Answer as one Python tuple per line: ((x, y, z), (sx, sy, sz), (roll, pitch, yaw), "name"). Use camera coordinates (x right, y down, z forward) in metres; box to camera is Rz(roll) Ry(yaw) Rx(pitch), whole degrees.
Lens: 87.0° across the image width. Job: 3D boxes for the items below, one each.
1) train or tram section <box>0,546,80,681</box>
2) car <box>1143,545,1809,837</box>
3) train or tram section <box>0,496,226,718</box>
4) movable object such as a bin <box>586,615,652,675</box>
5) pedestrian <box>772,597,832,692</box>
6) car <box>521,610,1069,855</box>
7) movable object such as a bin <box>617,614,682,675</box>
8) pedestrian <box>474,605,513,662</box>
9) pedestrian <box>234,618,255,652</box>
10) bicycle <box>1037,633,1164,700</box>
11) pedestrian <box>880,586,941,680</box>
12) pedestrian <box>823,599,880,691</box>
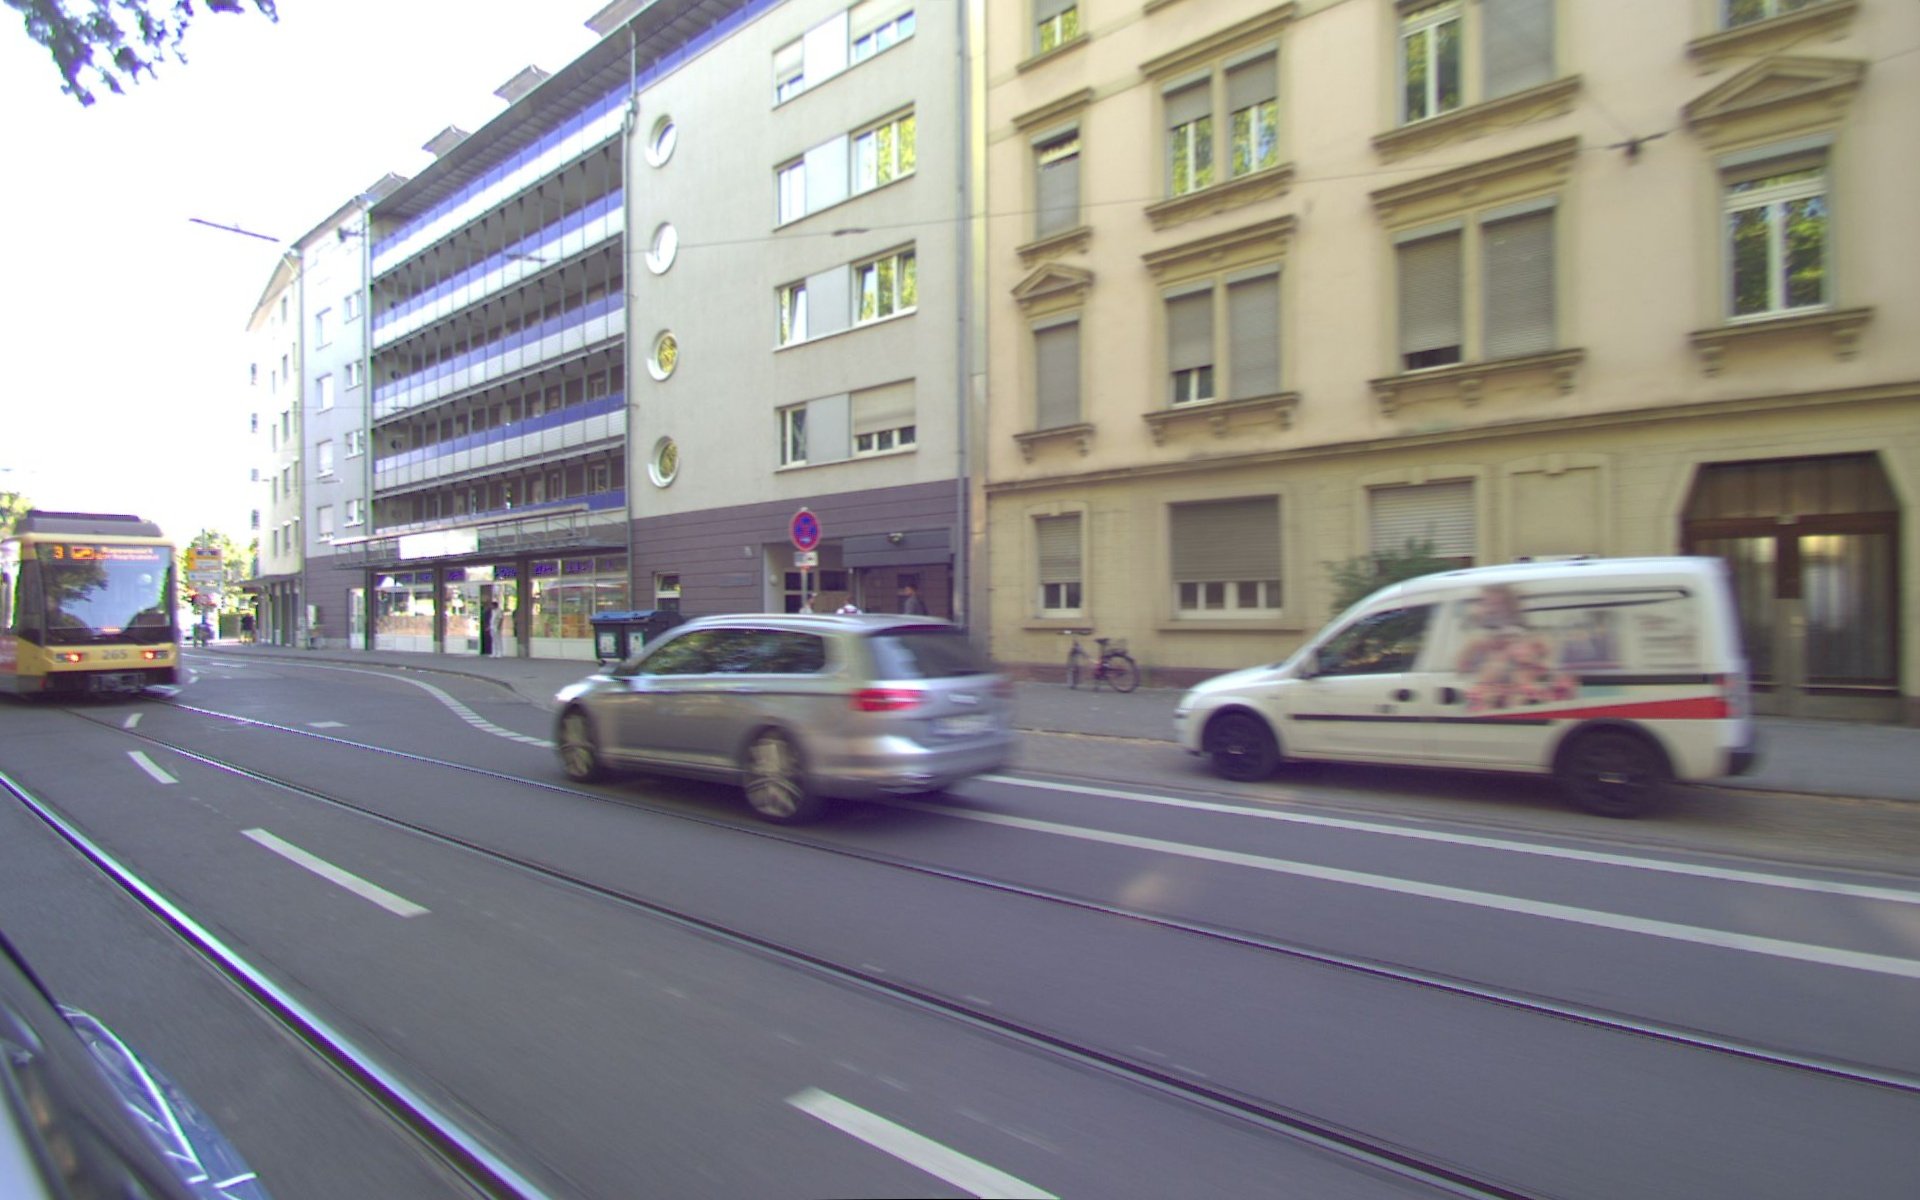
((-29.939, 0.474, 30.842), (13.361, 3.512, 2.878), (-1, -1, 41), "train or tram section")
((3.935, 0.588, 8.265), (4.464, 1.784, 1.772), (-2, 0, 38), "car")
((-19.502, 0.248, 21.763), (14.190, 3.512, 2.878), (-1, -1, 41), "train or tram section")
((-8.726, 1.136, 25.927), (1.212, 1.462, 1.129), (-1, -1, 37), "movable object such as a bin")
((-3.095, 0.853, 19.850), (0.735, 1.798, 0.856), (-2, 0, 39), "pedestrian")
((-1.569, 0.862, 8.251), (4.712, 1.457, 1.777), (-2, -2, 40), "car")
((-7.733, 1.097, 25.197), (1.209, 1.462, 1.047), (-1, -1, 37), "movable object such as a bin")
((-14.696, 1.044, 31.909), (0.819, 1.726, 0.779), (-1, 2, 40), "pedestrian")
((-35.873, 1.730, 50.751), (0.904, 1.686, 0.707), (-2, -2, 45), "pedestrian")
((2.220, 1.039, 16.286), (0.639, 0.978, 2.142), (-1, 0, -38), "bicycle")
((-0.998, 0.656, 20.598), (0.729, 1.827, 0.952), (-2, 1, 42), "pedestrian")
((-2.014, 0.818, 18.798), (0.686, 1.645, 0.720), (-2, 1, 39), "pedestrian")
